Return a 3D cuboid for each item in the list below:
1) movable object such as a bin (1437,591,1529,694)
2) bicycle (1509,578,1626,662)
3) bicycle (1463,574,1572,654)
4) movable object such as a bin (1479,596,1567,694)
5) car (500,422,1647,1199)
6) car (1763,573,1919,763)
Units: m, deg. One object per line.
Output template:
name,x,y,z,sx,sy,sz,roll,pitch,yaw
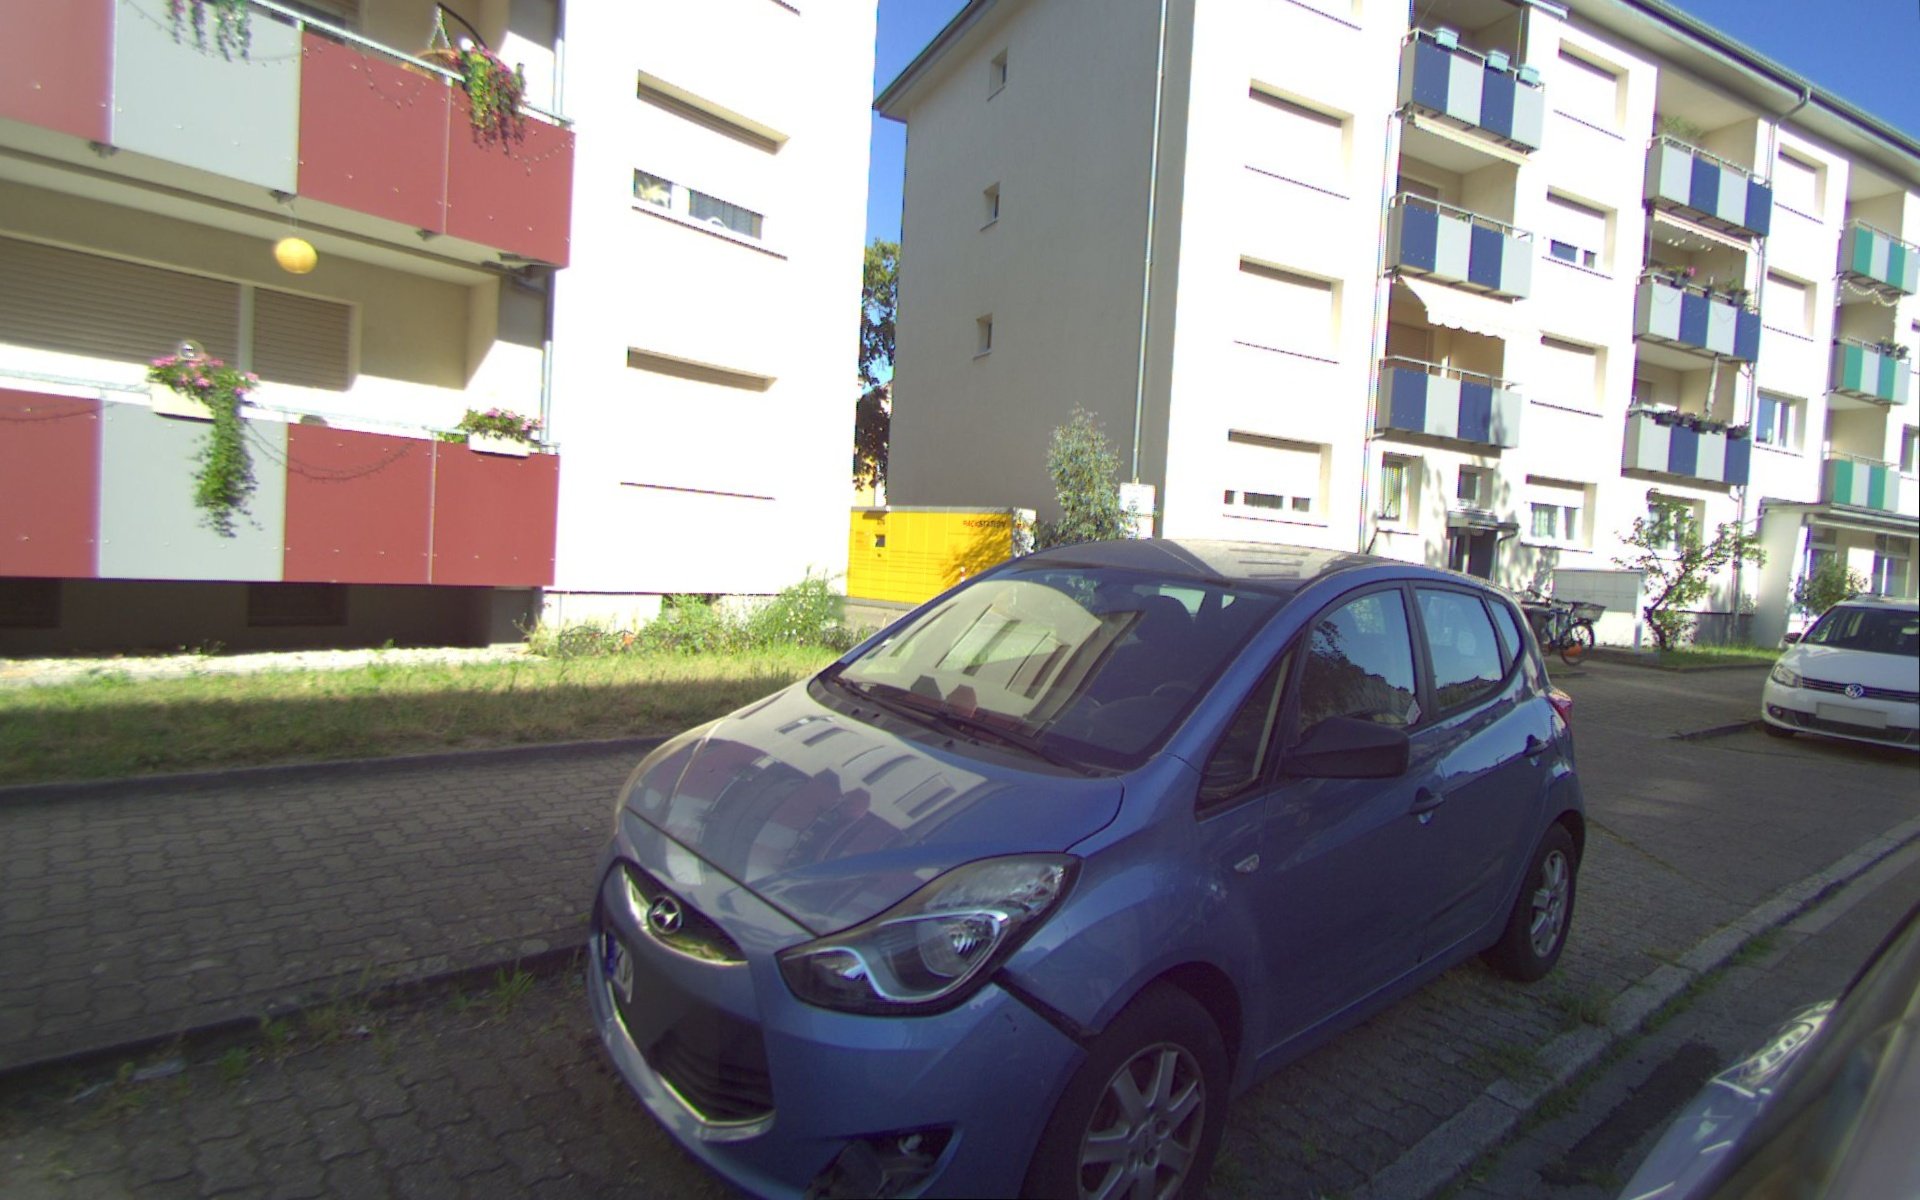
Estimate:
movable object such as a bin,6.048,0.480,11.710,0.669,1.108,0.586,2,4,-31
bicycle,9.550,0.320,15.904,1.724,1.217,0.518,3,4,-21
bicycle,9.190,0.239,16.674,1.795,1.217,0.517,2,4,-25
movable object such as a bin,6.677,0.516,12.009,0.628,1.068,0.587,0,7,-30
car,0.748,0.453,3.580,3.971,1.655,1.770,-1,5,-42
car,10.761,0.631,11.204,4.308,1.674,1.701,-2,6,-35
